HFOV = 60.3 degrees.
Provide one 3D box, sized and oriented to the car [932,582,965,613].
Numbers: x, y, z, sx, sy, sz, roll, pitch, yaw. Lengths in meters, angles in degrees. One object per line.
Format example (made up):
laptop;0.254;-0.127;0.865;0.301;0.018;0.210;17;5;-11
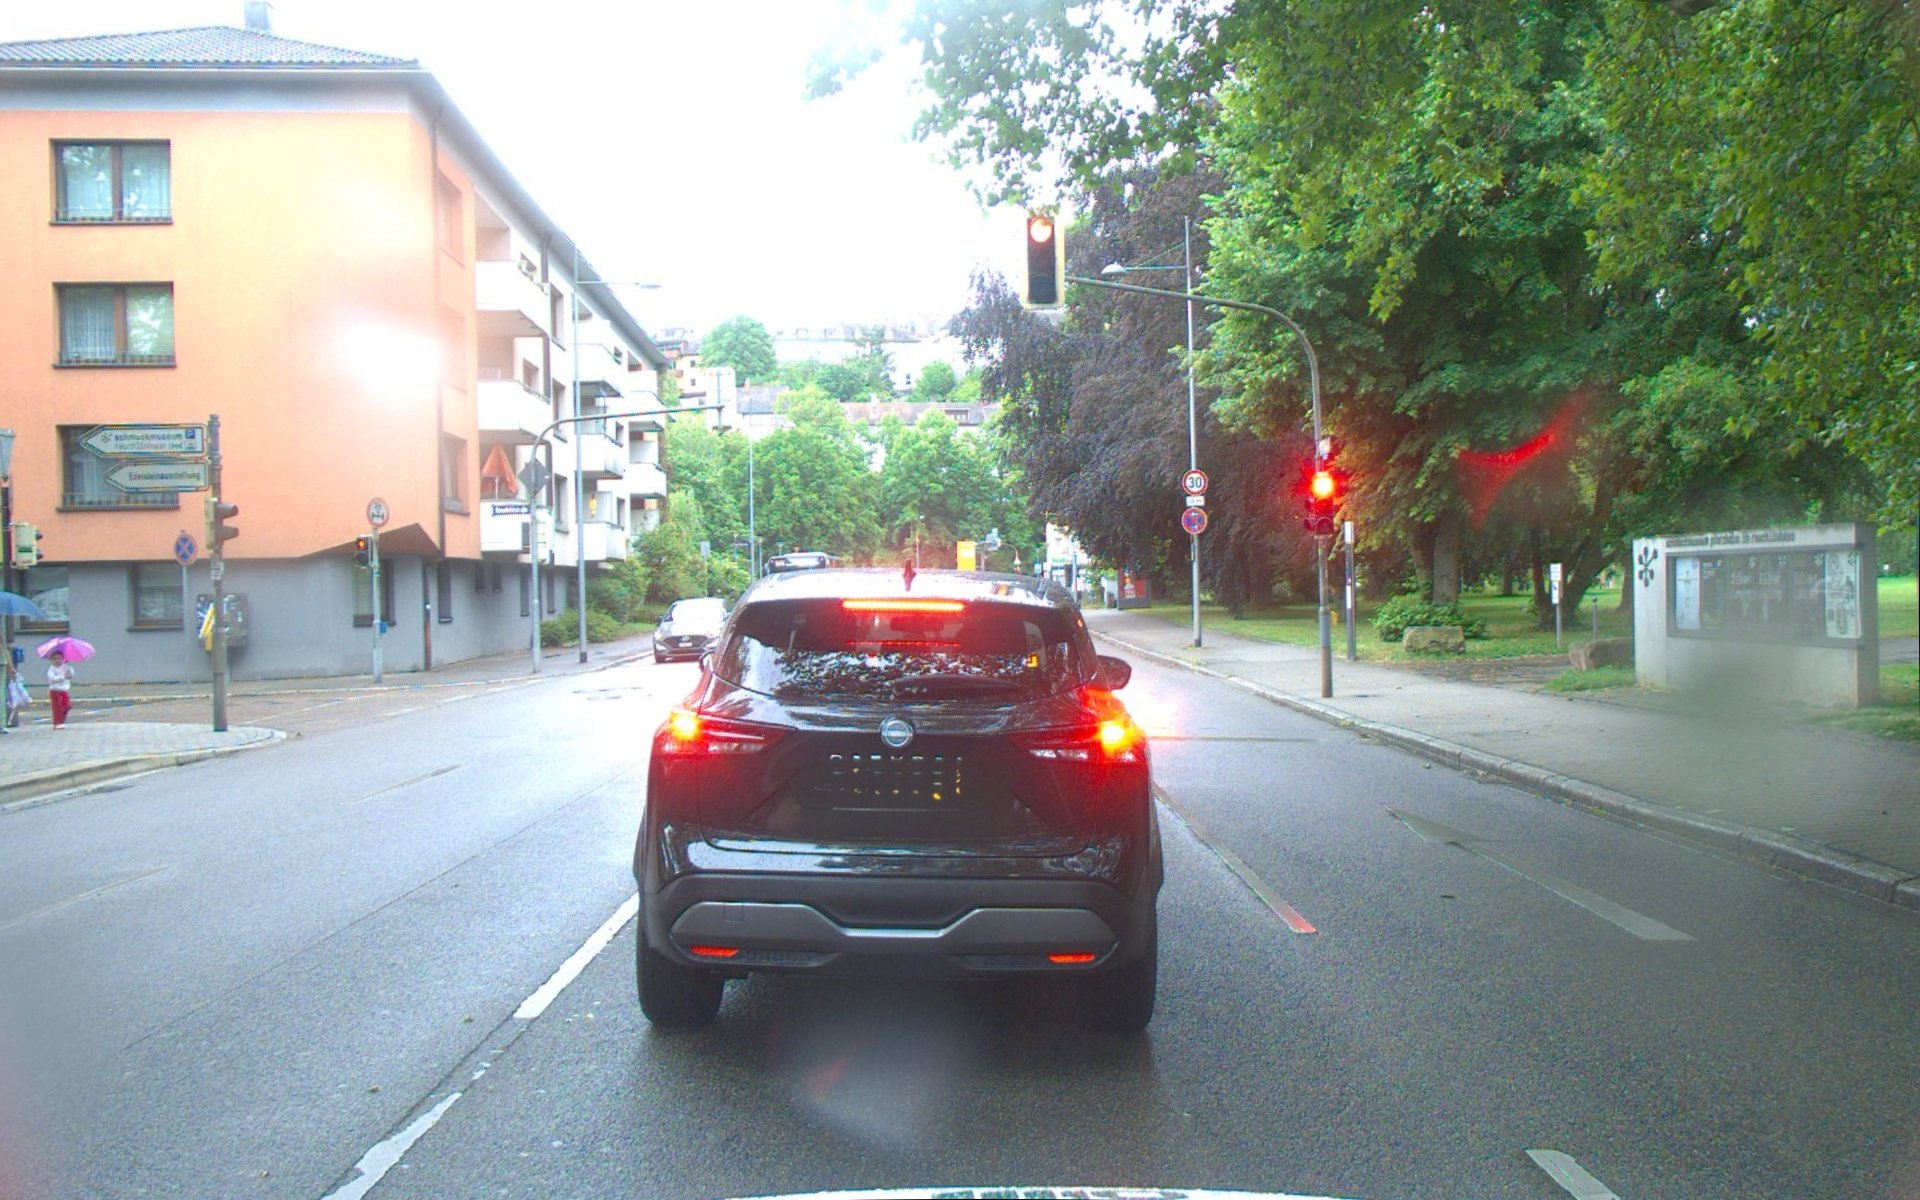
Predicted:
car;-0.568;-0.148;82.637;1.591;1.439;3.454;-2;0;0

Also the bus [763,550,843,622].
bus;-7.121;-0.610;76.658;2.710;3.026;11.779;-1;0;-1

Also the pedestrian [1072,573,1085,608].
pedestrian;6.293;-0.518;87.880;0.606;1.810;0.778;-2;0;-1

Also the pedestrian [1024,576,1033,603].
pedestrian;4.372;-0.650;105.352;0.533;1.680;0.490;1;-1;0

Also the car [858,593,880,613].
car;-7.315;0.257;133.417;1.643;1.495;4.215;-3;1;-2

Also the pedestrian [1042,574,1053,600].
pedestrian;5.583;-0.819;105.568;0.685;1.680;0.628;1;-1;0

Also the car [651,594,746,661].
car;-6.400;0.639;40.822;1.772;1.441;4.029;-3;1;-2

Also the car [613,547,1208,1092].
car;-0.172;0.673;6.989;1.769;1.618;3.999;1;0;-1

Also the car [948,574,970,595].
car;-0.080;-1.303;136.527;1.714;1.662;3.634;-2;1;0

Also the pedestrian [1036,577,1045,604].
pedestrian;5.062;-0.619;104.040;0.504;1.684;0.550;1;-1;-1

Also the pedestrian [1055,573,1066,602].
pedestrian;6.468;-0.808;106.586;0.606;1.810;0.550;-2;0;-1

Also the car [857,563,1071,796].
car;0.057;0.601;14.647;1.588;1.738;3.771;-2;0;1

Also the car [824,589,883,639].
car;-3.277;0.416;51.408;1.591;1.439;3.454;-2;0;0

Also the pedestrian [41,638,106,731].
pedestrian;-11.834;1.112;22.071;0.678;1.195;0.817;1;0;-34

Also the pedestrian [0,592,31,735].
pedestrian;-12.421;0.792;21.011;0.983;1.772;1.195;1;0;-34

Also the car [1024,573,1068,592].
car;8.502;-1.758;163.730;3.916;1.713;1.995;-2;0;-11

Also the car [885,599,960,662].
car;-0.950;0.727;40.922;1.772;1.442;4.029;0;0;-2
